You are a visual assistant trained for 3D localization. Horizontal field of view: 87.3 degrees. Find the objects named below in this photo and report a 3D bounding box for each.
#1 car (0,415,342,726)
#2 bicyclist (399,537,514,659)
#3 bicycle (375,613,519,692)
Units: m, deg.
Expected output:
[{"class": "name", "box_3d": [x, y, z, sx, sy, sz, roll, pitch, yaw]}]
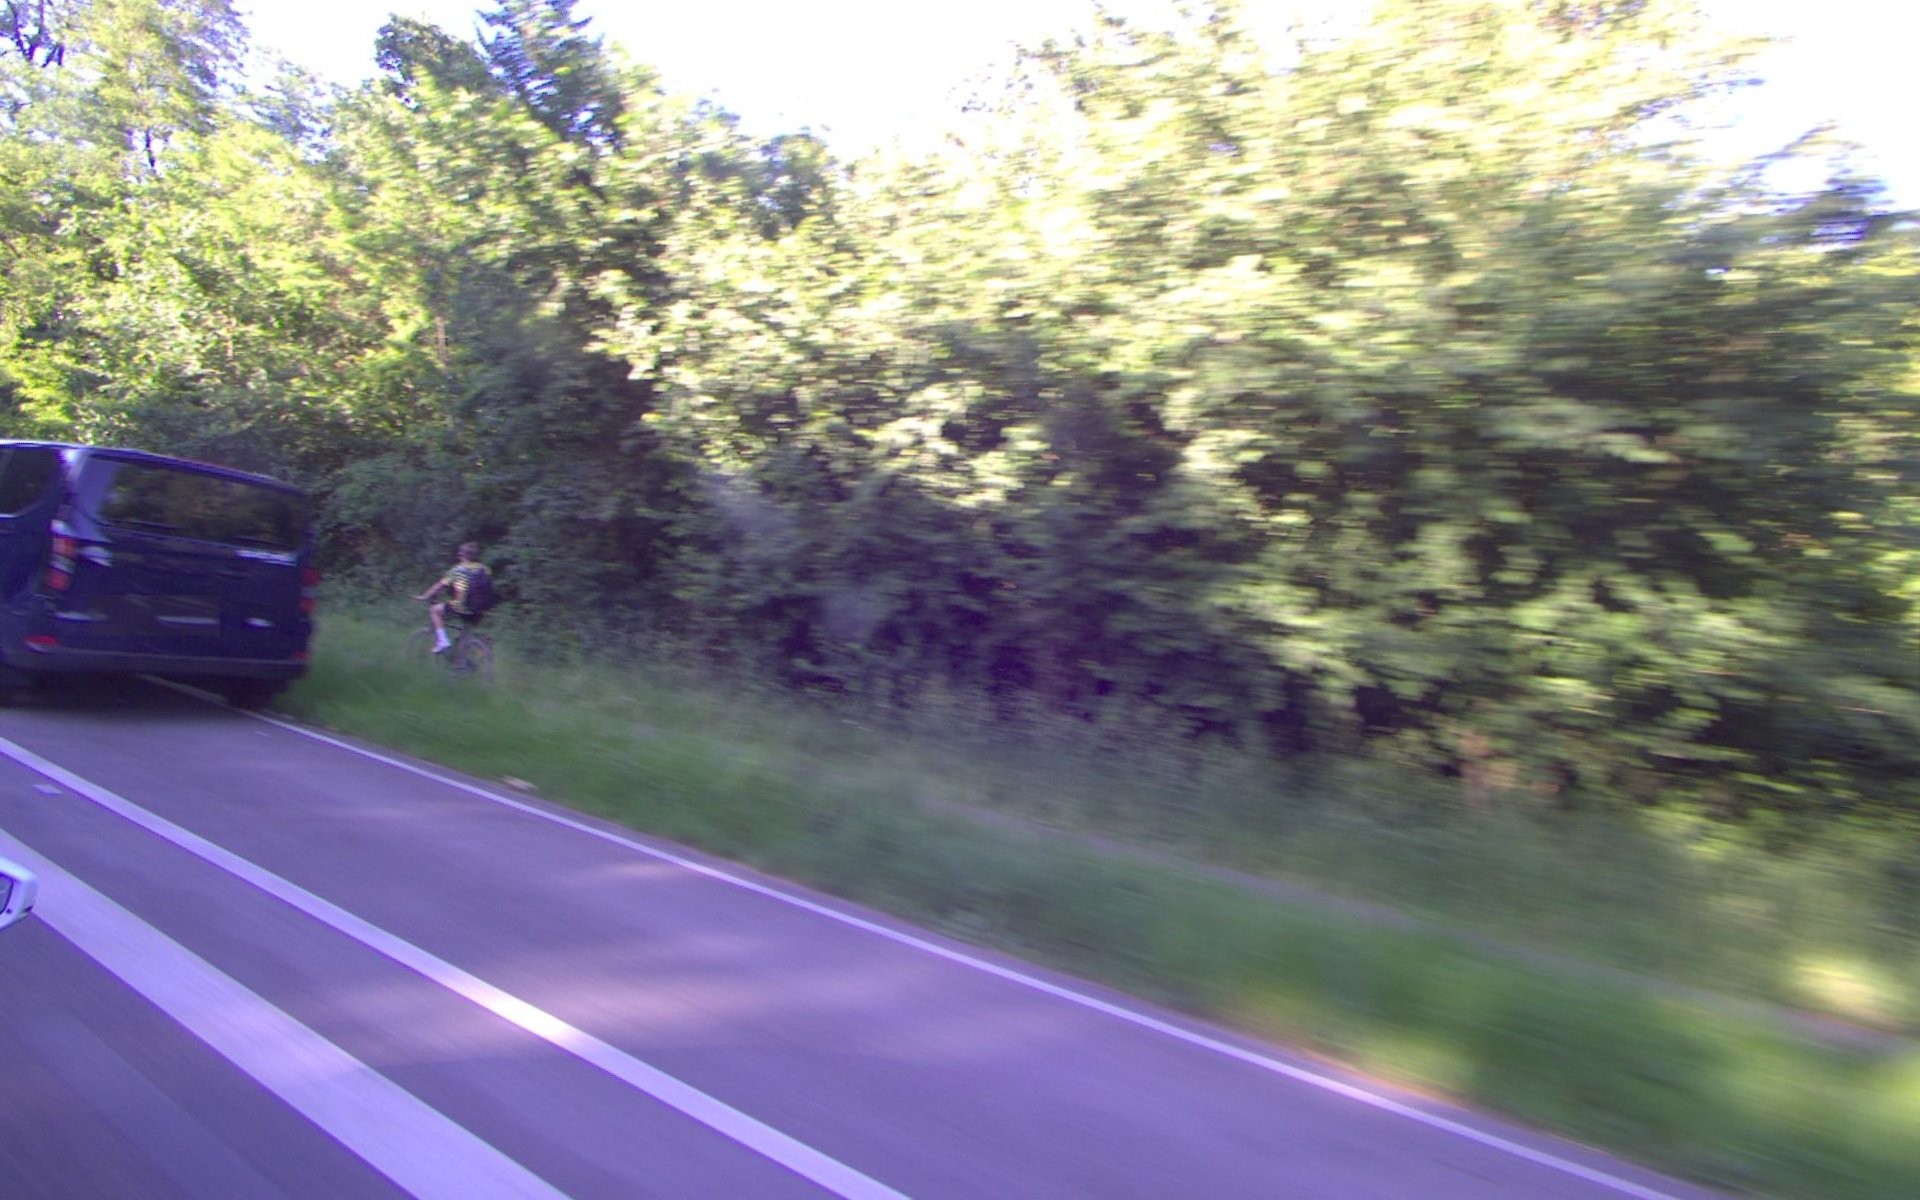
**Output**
[{"class": "car", "box_3d": [-7.924, -0.328, 8.810, 4.956, 2.036, 2.118, 7, -2, 32]}, {"class": "bicyclist", "box_3d": [-6.147, -0.028, 12.280, 1.156, 1.340, 0.611, 7, 0, 32]}, {"class": "bicycle", "box_3d": [-6.326, 0.640, 12.357, 1.963, 0.700, 0.592, 7, -1, 32]}]
